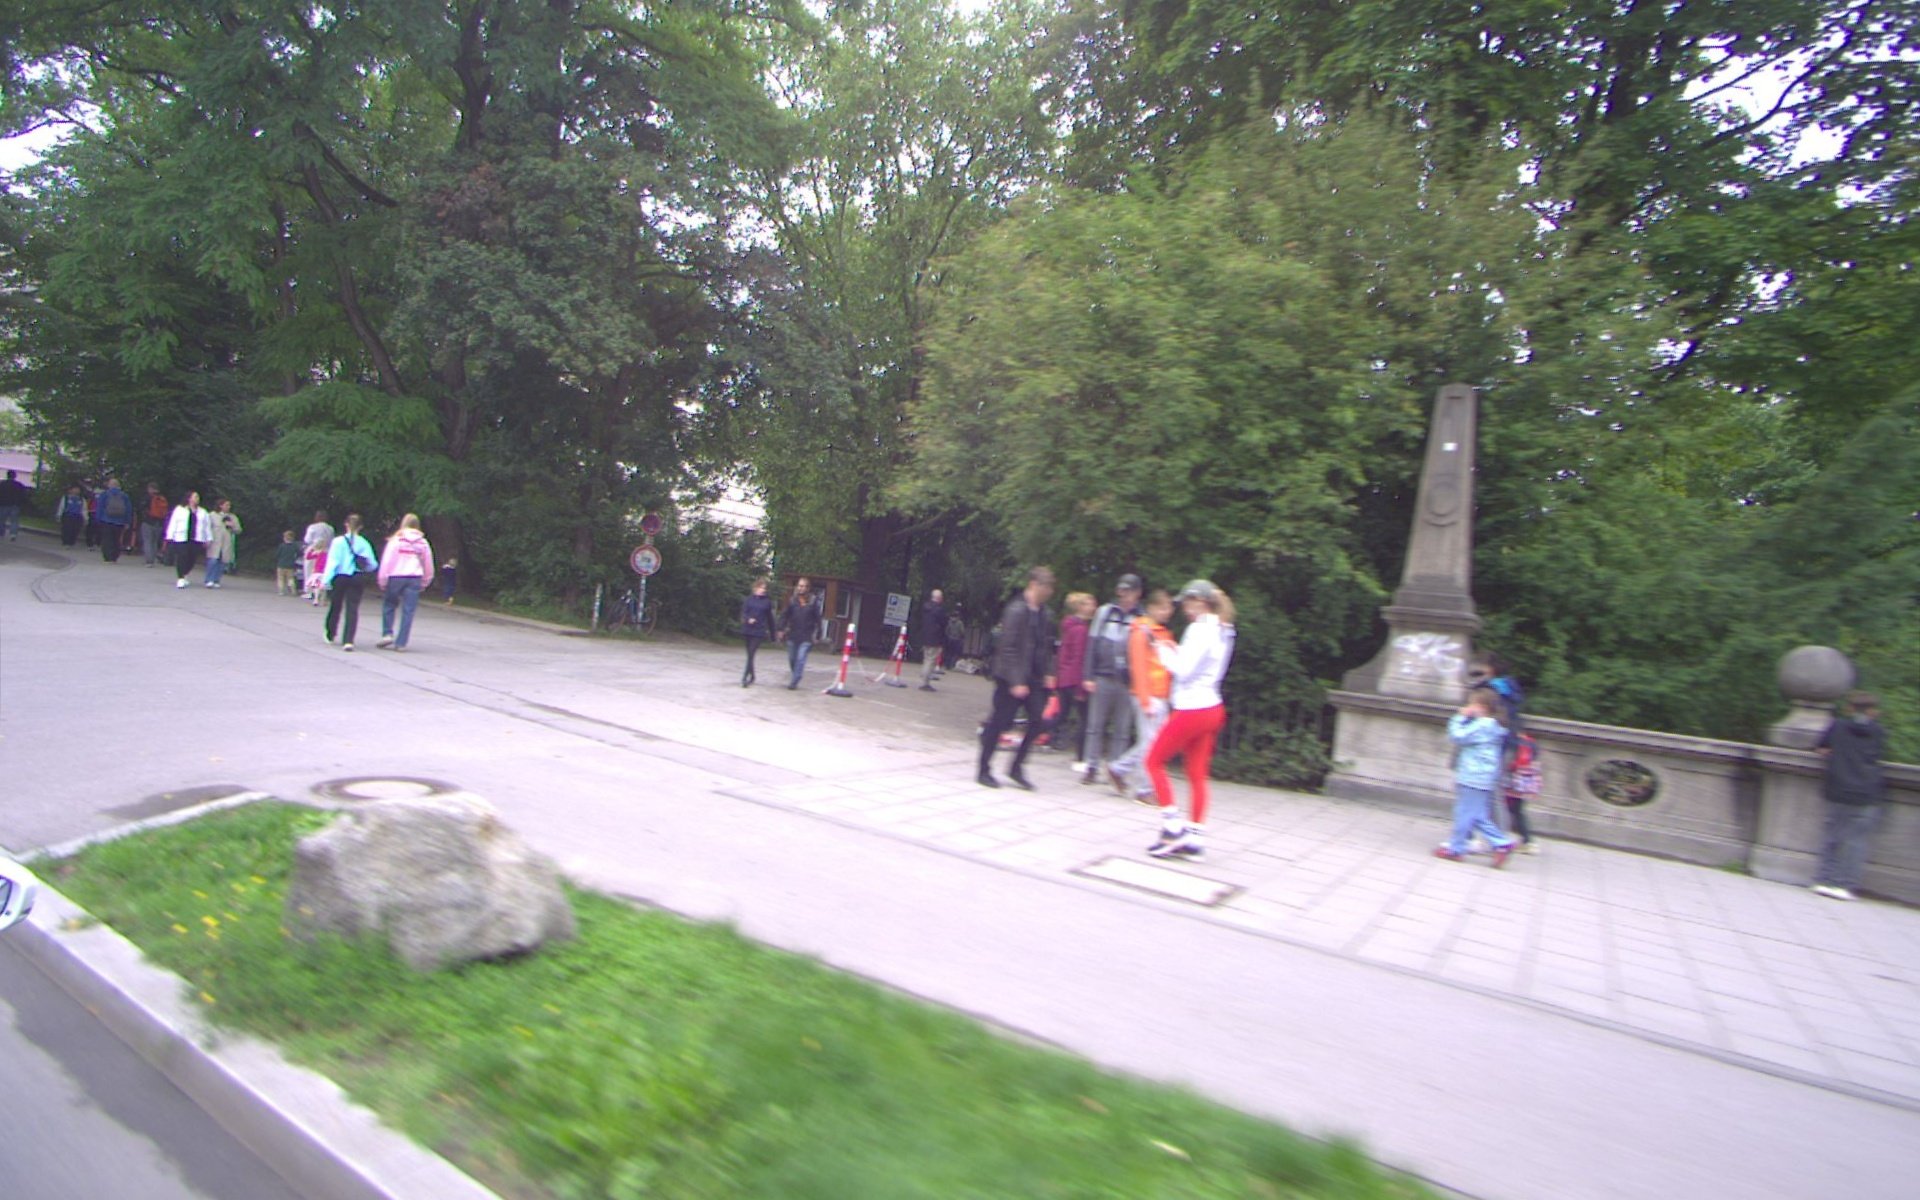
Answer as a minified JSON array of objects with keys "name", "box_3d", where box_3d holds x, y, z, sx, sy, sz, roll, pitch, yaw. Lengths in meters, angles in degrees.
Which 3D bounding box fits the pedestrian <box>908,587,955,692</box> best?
[{"name":"pedestrian","box_3d":[-0.503,0.680,17.369,0.600,1.715,0.693,7,-1,-3]}]

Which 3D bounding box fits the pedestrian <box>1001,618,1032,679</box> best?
[{"name":"pedestrian","box_3d":[1.688,1.438,29.827,0.600,1.715,0.693,7,-1,13]}]

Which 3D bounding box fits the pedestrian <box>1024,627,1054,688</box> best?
[{"name":"pedestrian","box_3d":[2.342,1.702,29.680,0.600,1.715,0.693,7,-1,13]}]

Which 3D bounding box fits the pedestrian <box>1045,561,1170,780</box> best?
[{"name":"pedestrian","box_3d":[1.343,0.636,9.180,0.607,1.894,0.685,8,-1,-41]}]

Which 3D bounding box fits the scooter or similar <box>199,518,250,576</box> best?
[{"name":"scooter or similar","box_3d":[-16.802,-1.219,22.985,1.199,1.213,0.418,6,-1,33]}]

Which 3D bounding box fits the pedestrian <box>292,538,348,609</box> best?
[{"name":"pedestrian","box_3d":[-11.145,-0.462,17.520,0.629,1.150,0.566,8,-1,-43]}]

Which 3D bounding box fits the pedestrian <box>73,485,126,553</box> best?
[{"name":"pedestrian","box_3d":[-22.816,-2.148,26.687,0.651,1.657,0.683,7,-1,20]}]

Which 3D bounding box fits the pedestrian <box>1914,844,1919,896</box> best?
[{"name":"pedestrian","box_3d":[7.710,1.465,7.407,0.717,1.712,0.812,7,1,34]}]

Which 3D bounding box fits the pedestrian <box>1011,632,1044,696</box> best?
[{"name":"pedestrian","box_3d":[1.882,1.780,27.990,0.600,1.715,0.693,7,-1,13]}]

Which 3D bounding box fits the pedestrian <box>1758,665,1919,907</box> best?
[{"name":"pedestrian","box_3d":[6.925,1.427,7.982,0.717,1.710,0.813,7,-1,34]}]

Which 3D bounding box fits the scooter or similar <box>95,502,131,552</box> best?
[{"name":"scooter or similar","box_3d":[-22.452,-1.918,26.684,0.301,1.239,0.923,7,0,-18]}]

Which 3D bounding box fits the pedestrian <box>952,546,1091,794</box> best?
[{"name":"pedestrian","box_3d":[0.496,0.559,8.145,0.607,1.894,0.685,8,-1,-41]}]

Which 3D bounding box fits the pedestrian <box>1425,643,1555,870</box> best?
[{"name":"pedestrian","box_3d":[3.970,1.142,7.530,0.638,1.545,0.549,6,-1,37]}]

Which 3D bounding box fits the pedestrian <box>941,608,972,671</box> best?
[{"name":"pedestrian","box_3d":[-0.094,1.121,28.805,0.601,1.715,0.692,7,-1,-8]}]

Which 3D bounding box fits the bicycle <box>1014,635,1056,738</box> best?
[{"name":"bicycle","box_3d":[1.006,1.128,13.511,0.384,1.254,1.601,7,-2,5]}]

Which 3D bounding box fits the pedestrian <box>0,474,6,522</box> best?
[{"name":"pedestrian","box_3d":[-25.790,-2.536,26.561,0.742,1.701,0.608,6,-1,36]}]

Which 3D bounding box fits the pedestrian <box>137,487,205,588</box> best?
[{"name":"pedestrian","box_3d":[-14.124,-1.114,18.009,0.752,1.663,0.643,8,-1,-43]}]

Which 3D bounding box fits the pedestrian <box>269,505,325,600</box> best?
[{"name":"pedestrian","box_3d":[-12.497,-0.898,18.961,0.629,1.686,0.566,8,-1,-43]}]

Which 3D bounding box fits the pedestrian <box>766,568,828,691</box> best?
[{"name":"pedestrian","box_3d":[-2.346,0.422,14.555,0.600,1.671,0.693,7,-1,-1]}]

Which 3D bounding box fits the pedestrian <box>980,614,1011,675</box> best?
[{"name":"pedestrian","box_3d":[1.069,1.330,29.929,0.600,1.715,0.693,7,-1,13]}]

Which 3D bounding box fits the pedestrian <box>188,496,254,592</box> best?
[{"name":"pedestrian","box_3d":[-13.740,-1.036,18.711,0.752,1.663,0.682,8,-1,-43]}]

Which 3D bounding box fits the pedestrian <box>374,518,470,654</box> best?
[{"name":"pedestrian","box_3d":[-7.066,-0.189,13.205,0.752,1.663,0.840,8,-1,-43]}]

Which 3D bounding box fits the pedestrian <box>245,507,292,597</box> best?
[{"name":"pedestrian","box_3d":[-12.838,-0.895,18.680,0.483,1.584,0.566,8,-1,-43]}]

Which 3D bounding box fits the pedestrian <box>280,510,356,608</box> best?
[{"name":"pedestrian","box_3d":[-11.349,-0.723,17.779,0.858,1.584,0.682,7,-1,33]}]

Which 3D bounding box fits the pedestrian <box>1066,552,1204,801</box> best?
[{"name":"pedestrian","box_3d":[1.439,0.620,8.290,0.607,1.937,0.685,8,-1,-41]}]

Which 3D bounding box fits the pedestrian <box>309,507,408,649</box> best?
[{"name":"pedestrian","box_3d":[-7.592,-0.278,12.689,0.752,1.663,0.840,8,-1,-43]}]

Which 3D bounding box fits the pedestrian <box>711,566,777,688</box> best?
[{"name":"pedestrian","box_3d":[-3.007,0.375,14.051,0.600,1.596,0.693,7,-1,-3]}]

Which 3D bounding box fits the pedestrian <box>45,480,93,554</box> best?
[{"name":"pedestrian","box_3d":[-22.823,-2.125,25.767,0.752,1.757,0.840,8,-1,-43]}]

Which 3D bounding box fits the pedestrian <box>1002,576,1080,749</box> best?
[{"name":"pedestrian","box_3d":[0.930,0.720,11.714,0.600,1.894,0.693,7,-1,-3]}]

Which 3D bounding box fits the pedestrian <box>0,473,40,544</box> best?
[{"name":"pedestrian","box_3d":[-25.267,-2.452,26.953,0.784,1.784,0.608,6,-1,36]}]

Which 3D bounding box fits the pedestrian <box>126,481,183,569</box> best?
[{"name":"pedestrian","box_3d":[-18.017,-1.675,22.496,0.836,1.843,0.589,7,-1,33]}]

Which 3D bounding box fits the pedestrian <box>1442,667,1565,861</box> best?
[{"name":"pedestrian","box_3d":[4.161,1.233,7.701,0.638,1.342,0.458,6,-1,37]}]

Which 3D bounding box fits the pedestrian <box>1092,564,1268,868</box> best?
[{"name":"pedestrian","box_3d":[1.373,0.696,6.238,0.638,1.710,0.726,6,-1,37]}]

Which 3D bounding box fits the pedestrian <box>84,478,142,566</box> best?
[{"name":"pedestrian","box_3d":[-18.361,-1.680,21.806,0.752,1.757,0.840,8,-1,-43]}]

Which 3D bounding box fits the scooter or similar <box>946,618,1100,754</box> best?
[{"name":"scooter or similar","box_3d":[0.691,0.926,10.697,1.549,1.270,0.346,8,-1,-28]}]

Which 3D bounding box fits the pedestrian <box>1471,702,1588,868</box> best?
[{"name":"pedestrian","box_3d":[4.483,1.430,7.919,0.638,1.166,0.458,6,-1,37]}]

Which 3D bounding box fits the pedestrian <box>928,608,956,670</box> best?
[{"name":"pedestrian","box_3d":[-0.522,1.143,29.534,0.600,1.715,0.693,7,-1,-3]}]

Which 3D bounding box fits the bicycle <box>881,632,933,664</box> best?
[{"name":"bicycle","box_3d":[-2.035,1.851,38.751,1.831,1.005,0.565,8,-1,-12]}]
